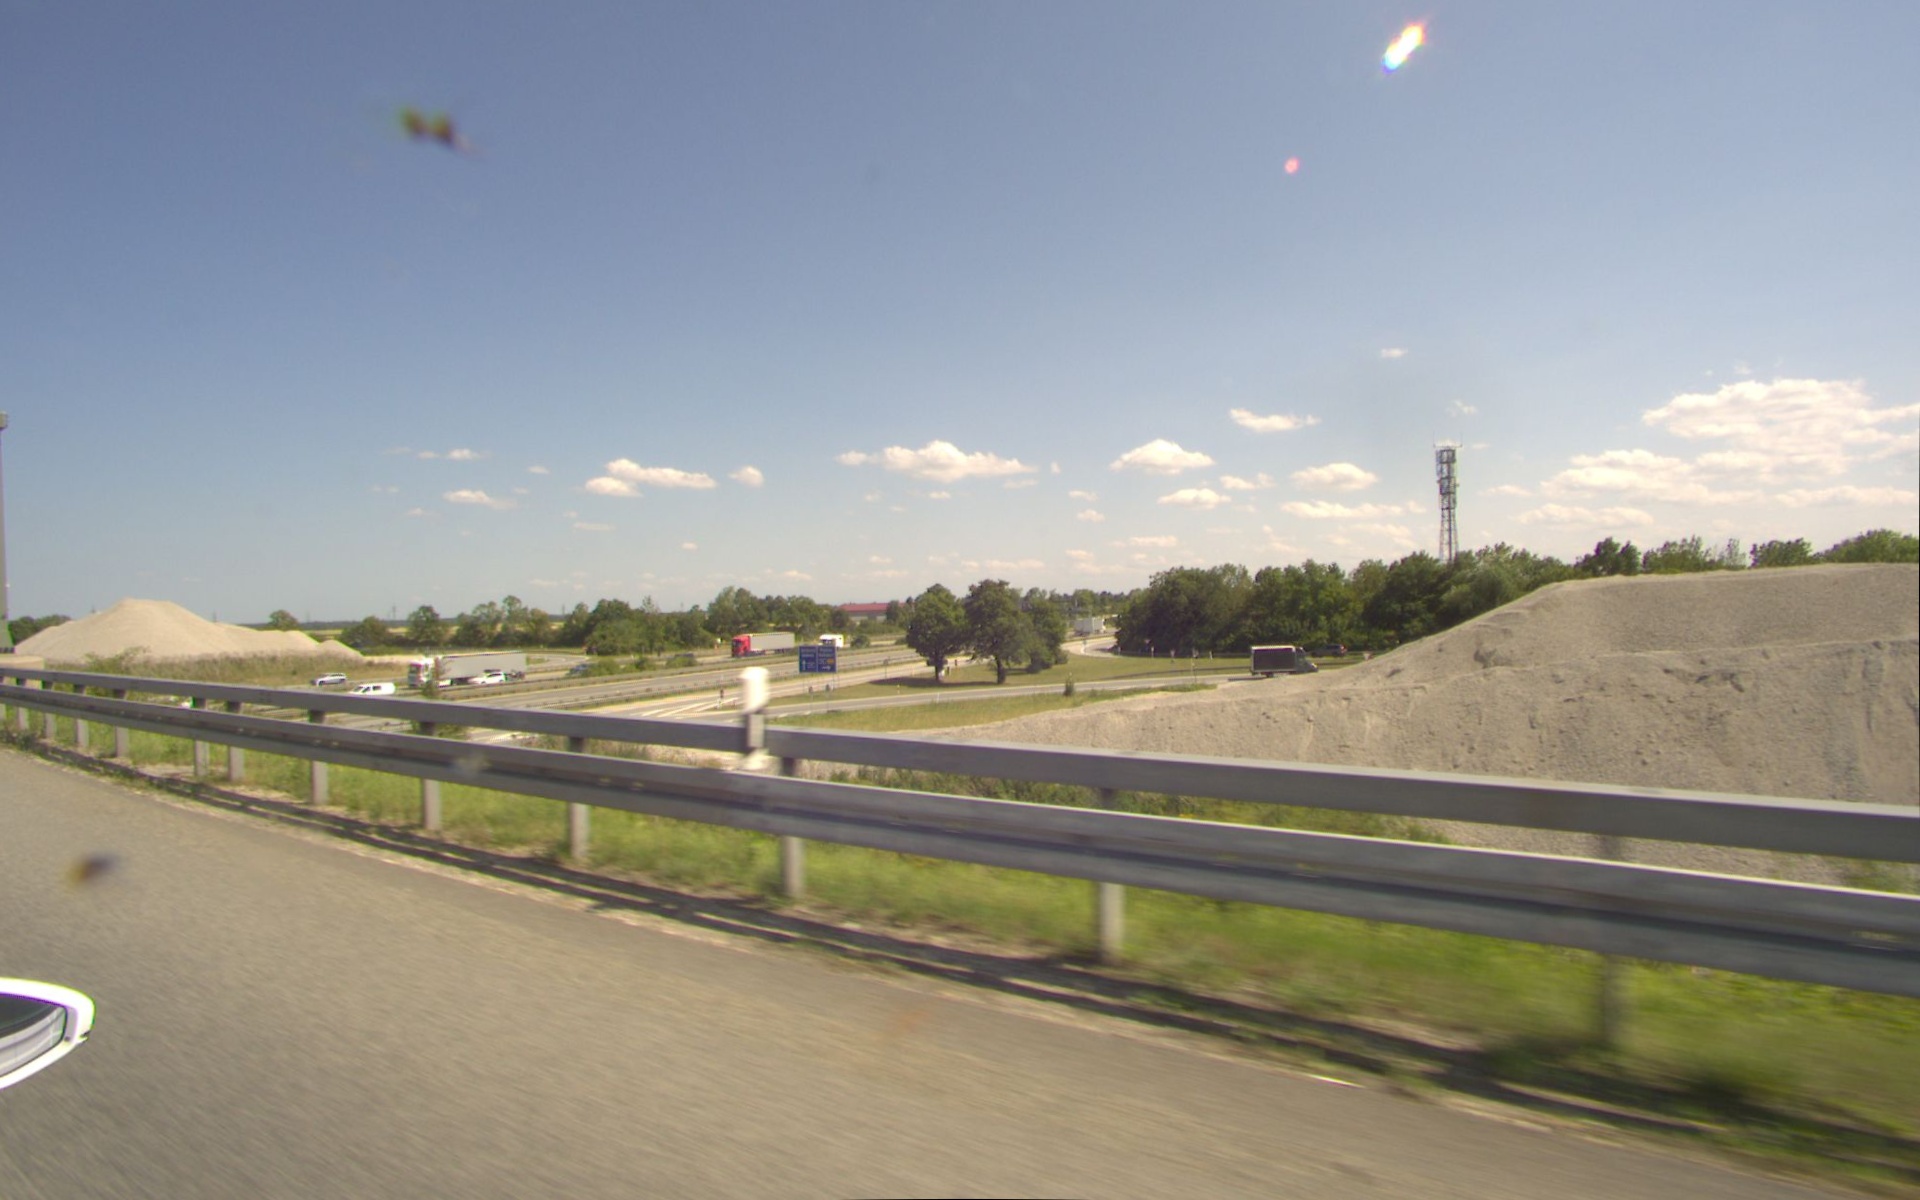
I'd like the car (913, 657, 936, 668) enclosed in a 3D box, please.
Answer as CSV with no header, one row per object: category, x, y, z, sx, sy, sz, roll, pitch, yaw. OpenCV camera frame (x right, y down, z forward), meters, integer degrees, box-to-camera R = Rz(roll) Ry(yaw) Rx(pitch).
car,-5.324,9.532,151.909,1.967,1.593,3.993,-1,-4,23

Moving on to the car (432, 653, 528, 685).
car,-65.716,9.400,137.601,2.445,4.013,12.963,-2,-3,29

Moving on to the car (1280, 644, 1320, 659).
car,44.315,6.700,130.567,4.616,1.827,1.749,-3,-6,40

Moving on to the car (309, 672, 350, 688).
car,-87.267,11.084,138.560,1.970,2.039,4.392,-2,-3,29

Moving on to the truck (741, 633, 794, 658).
truck,-37.300,8.780,194.895,2.825,4.118,12.524,-1,0,28

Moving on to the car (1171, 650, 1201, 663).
car,32.800,8.278,145.581,1.978,1.792,3.972,4,-6,-38

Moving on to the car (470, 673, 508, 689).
car,-63.497,10.940,135.059,1.970,2.039,4.392,-2,-3,29

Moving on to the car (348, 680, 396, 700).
car,-68.105,10.395,116.051,1.970,2.039,4.392,-2,-3,29

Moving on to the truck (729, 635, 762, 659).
truck,-40.502,8.894,188.836,2.826,4.119,5.932,-1,0,28

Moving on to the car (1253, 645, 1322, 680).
car,35.604,6.788,109.081,6.945,3.672,2.001,0,-4,12

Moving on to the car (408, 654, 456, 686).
car,-69.190,9.179,131.237,2.445,4.013,5.140,-2,-3,29
